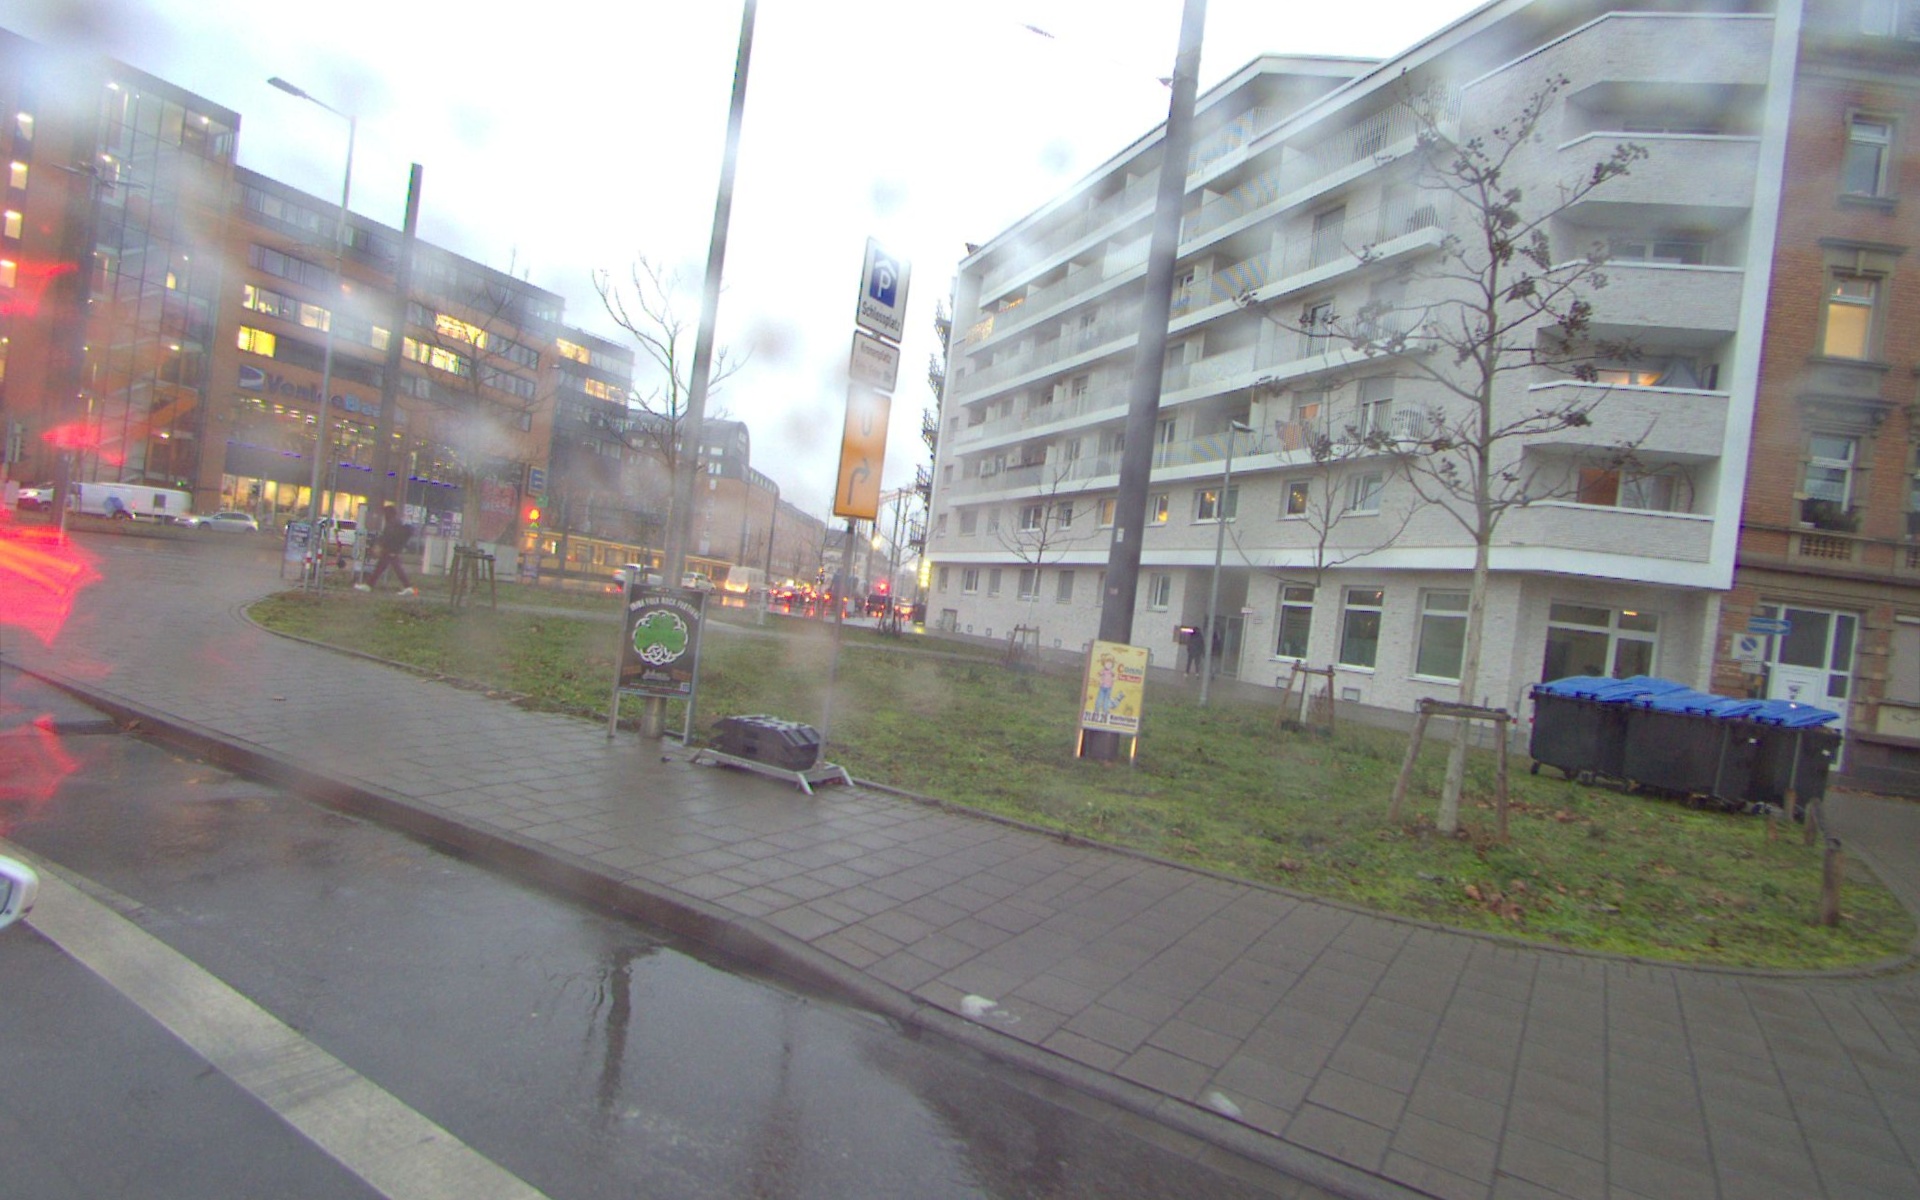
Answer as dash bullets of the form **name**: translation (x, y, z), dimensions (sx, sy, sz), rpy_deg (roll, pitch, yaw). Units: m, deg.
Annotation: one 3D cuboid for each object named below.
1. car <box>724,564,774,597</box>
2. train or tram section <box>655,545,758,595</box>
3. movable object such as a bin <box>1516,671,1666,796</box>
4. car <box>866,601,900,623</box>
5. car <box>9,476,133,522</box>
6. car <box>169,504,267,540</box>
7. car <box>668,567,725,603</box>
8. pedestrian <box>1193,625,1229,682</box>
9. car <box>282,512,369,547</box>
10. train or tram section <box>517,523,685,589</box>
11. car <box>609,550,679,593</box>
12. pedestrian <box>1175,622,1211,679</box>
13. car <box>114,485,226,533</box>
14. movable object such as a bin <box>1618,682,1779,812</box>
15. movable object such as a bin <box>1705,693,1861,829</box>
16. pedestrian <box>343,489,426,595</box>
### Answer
- **car**: translation (-17.619, -1.578, 84.207), dimensions (1.962, 2.036, 4.957), rpy_deg (8, -2, 13)
- **train or tram section**: translation (-22.474, -2.525, 90.410), dimensions (2.293, 3.300, 13.005), rpy_deg (7, -1, 17)
- **movable object such as a bin**: translation (8.920, 1.868, 14.272), dimensions (1.017, 1.513, 1.322), rpy_deg (7, 0, -21)
- **car**: translation (-7.666, 1.184, 100.191), dimensions (1.962, 1.600, 4.094), rpy_deg (8, -2, 16)
- **car**: translation (-46.347, -5.231, 52.573), dimensions (1.767, 1.614, 4.431), rpy_deg (7, -1, 25)
- **car**: translation (-43.742, -4.582, 59.421), dimensions (1.767, 1.406, 4.227), rpy_deg (7, -1, 25)
- **car**: translation (-19.983, -1.120, 76.511), dimensions (1.963, 2.036, 4.003), rpy_deg (8, -2, 22)
- **pedestrian**: translation (8.225, 1.739, 32.924), dimensions (0.670, 1.733, 0.625), rpy_deg (9, -1, -29)
- **car**: translation (-41.245, -4.576, 65.533), dimensions (1.767, 1.553, 4.444), rpy_deg (7, -1, 25)
- **train or tram section**: translation (-26.642, -3.099, 76.416), dimensions (2.293, 3.300, 16.666), rpy_deg (7, -1, 17)
- **car**: translation (-20.049, -1.762, 63.996), dimensions (1.962, 2.036, 4.376), rpy_deg (8, -2, 16)
- **pedestrian**: translation (7.544, 1.631, 32.578), dimensions (0.670, 1.733, 0.601), rpy_deg (9, -1, -29)
- **car**: translation (-46.876, -5.353, 59.812), dimensions (1.767, 2.025, 4.852), rpy_deg (7, 0, 25)
- **movable object such as a bin**: translation (9.532, 1.877, 13.028), dimensions (1.003, 1.434, 1.218), rpy_deg (6, 1, -21)
- **movable object such as a bin**: translation (10.697, 2.070, 13.114), dimensions (1.021, 1.507, 1.039), rpy_deg (9, -2, -12)
- **pedestrian**: translation (-11.799, -1.176, 20.614), dimensions (1.164, 1.946, 0.890), rpy_deg (10, -2, -35)
